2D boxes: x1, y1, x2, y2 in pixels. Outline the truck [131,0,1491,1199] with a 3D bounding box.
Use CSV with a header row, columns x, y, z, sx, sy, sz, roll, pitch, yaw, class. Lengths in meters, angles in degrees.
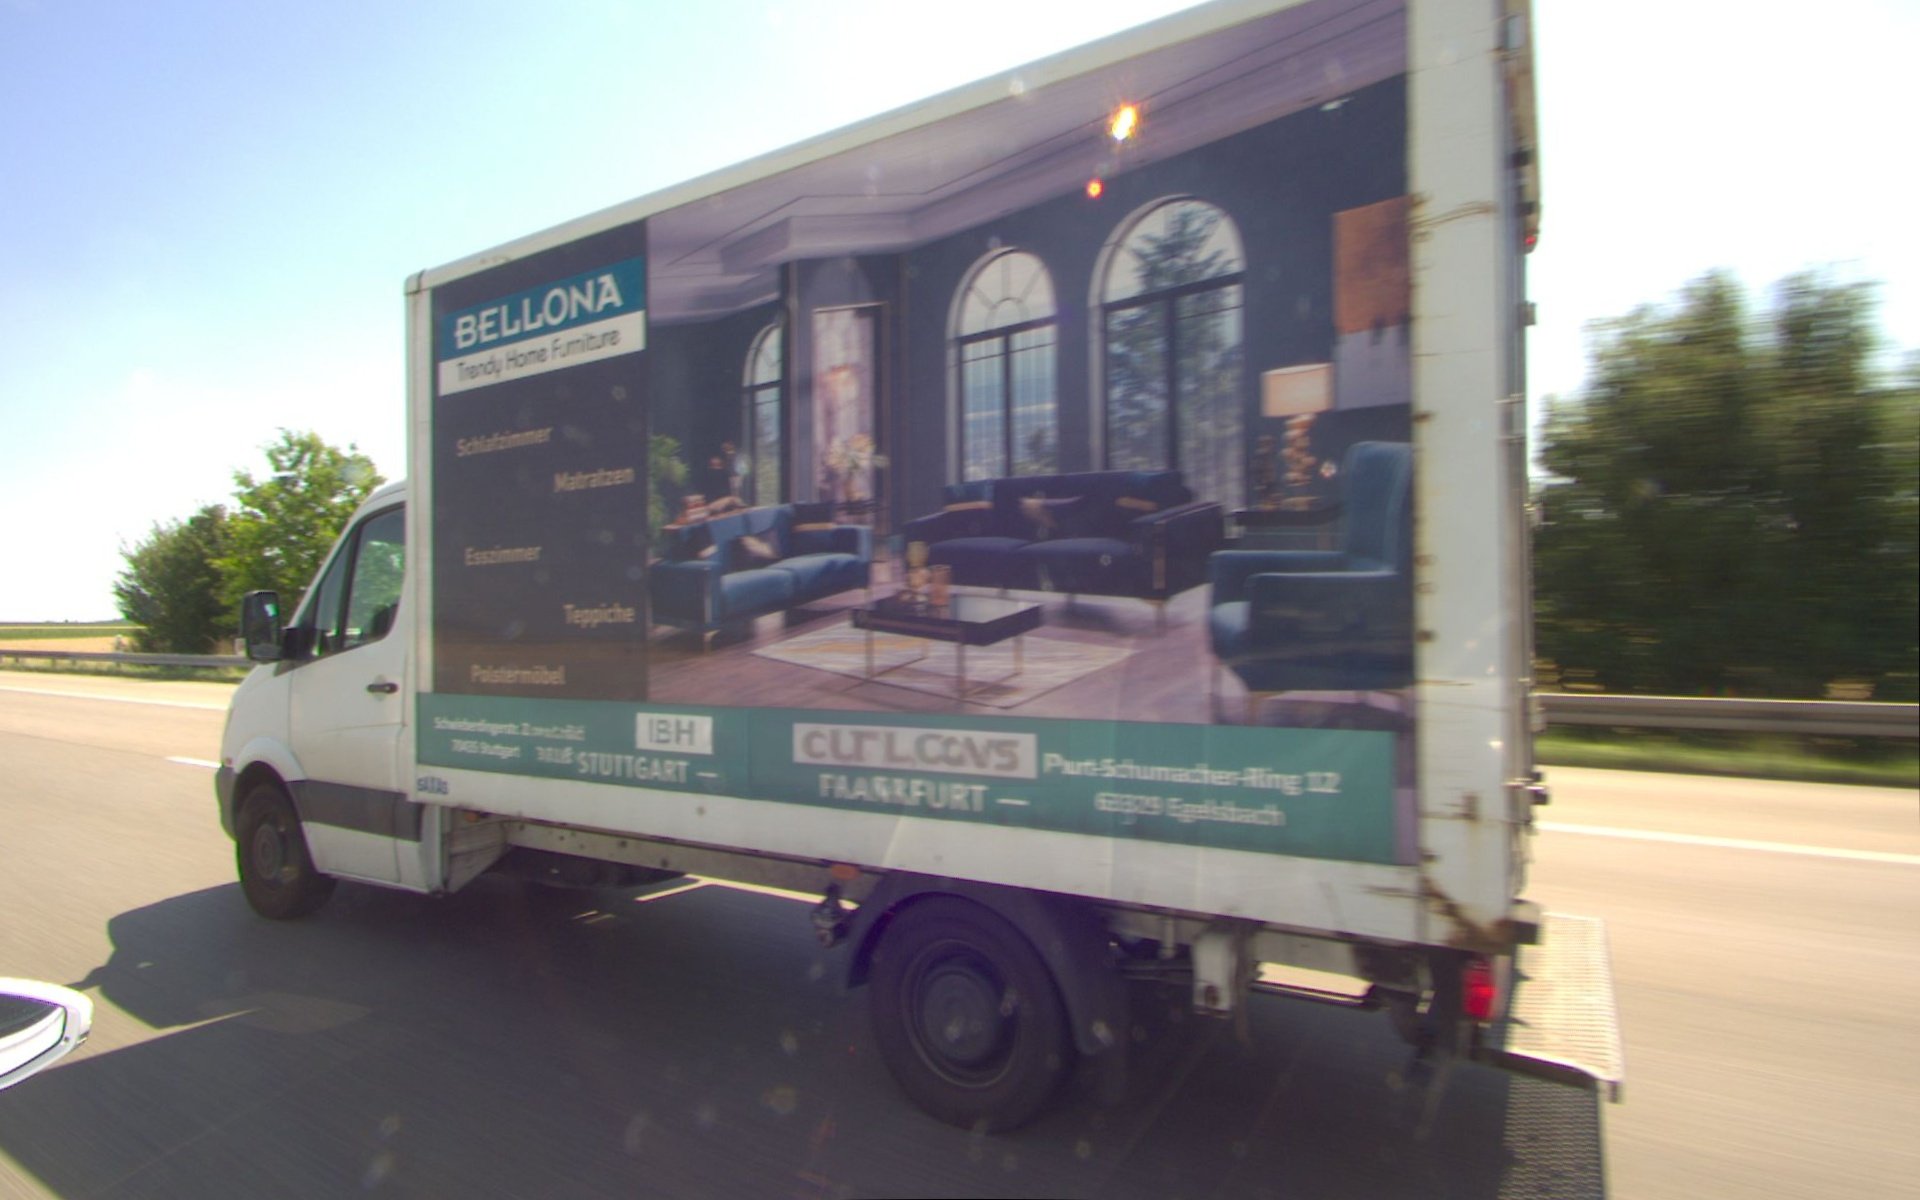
x,y,z,sx,sy,sz,roll,pitch,yaw,class
-1.229,0.042,4.893,6.653,3.107,2.317,-1,-1,32,truck
